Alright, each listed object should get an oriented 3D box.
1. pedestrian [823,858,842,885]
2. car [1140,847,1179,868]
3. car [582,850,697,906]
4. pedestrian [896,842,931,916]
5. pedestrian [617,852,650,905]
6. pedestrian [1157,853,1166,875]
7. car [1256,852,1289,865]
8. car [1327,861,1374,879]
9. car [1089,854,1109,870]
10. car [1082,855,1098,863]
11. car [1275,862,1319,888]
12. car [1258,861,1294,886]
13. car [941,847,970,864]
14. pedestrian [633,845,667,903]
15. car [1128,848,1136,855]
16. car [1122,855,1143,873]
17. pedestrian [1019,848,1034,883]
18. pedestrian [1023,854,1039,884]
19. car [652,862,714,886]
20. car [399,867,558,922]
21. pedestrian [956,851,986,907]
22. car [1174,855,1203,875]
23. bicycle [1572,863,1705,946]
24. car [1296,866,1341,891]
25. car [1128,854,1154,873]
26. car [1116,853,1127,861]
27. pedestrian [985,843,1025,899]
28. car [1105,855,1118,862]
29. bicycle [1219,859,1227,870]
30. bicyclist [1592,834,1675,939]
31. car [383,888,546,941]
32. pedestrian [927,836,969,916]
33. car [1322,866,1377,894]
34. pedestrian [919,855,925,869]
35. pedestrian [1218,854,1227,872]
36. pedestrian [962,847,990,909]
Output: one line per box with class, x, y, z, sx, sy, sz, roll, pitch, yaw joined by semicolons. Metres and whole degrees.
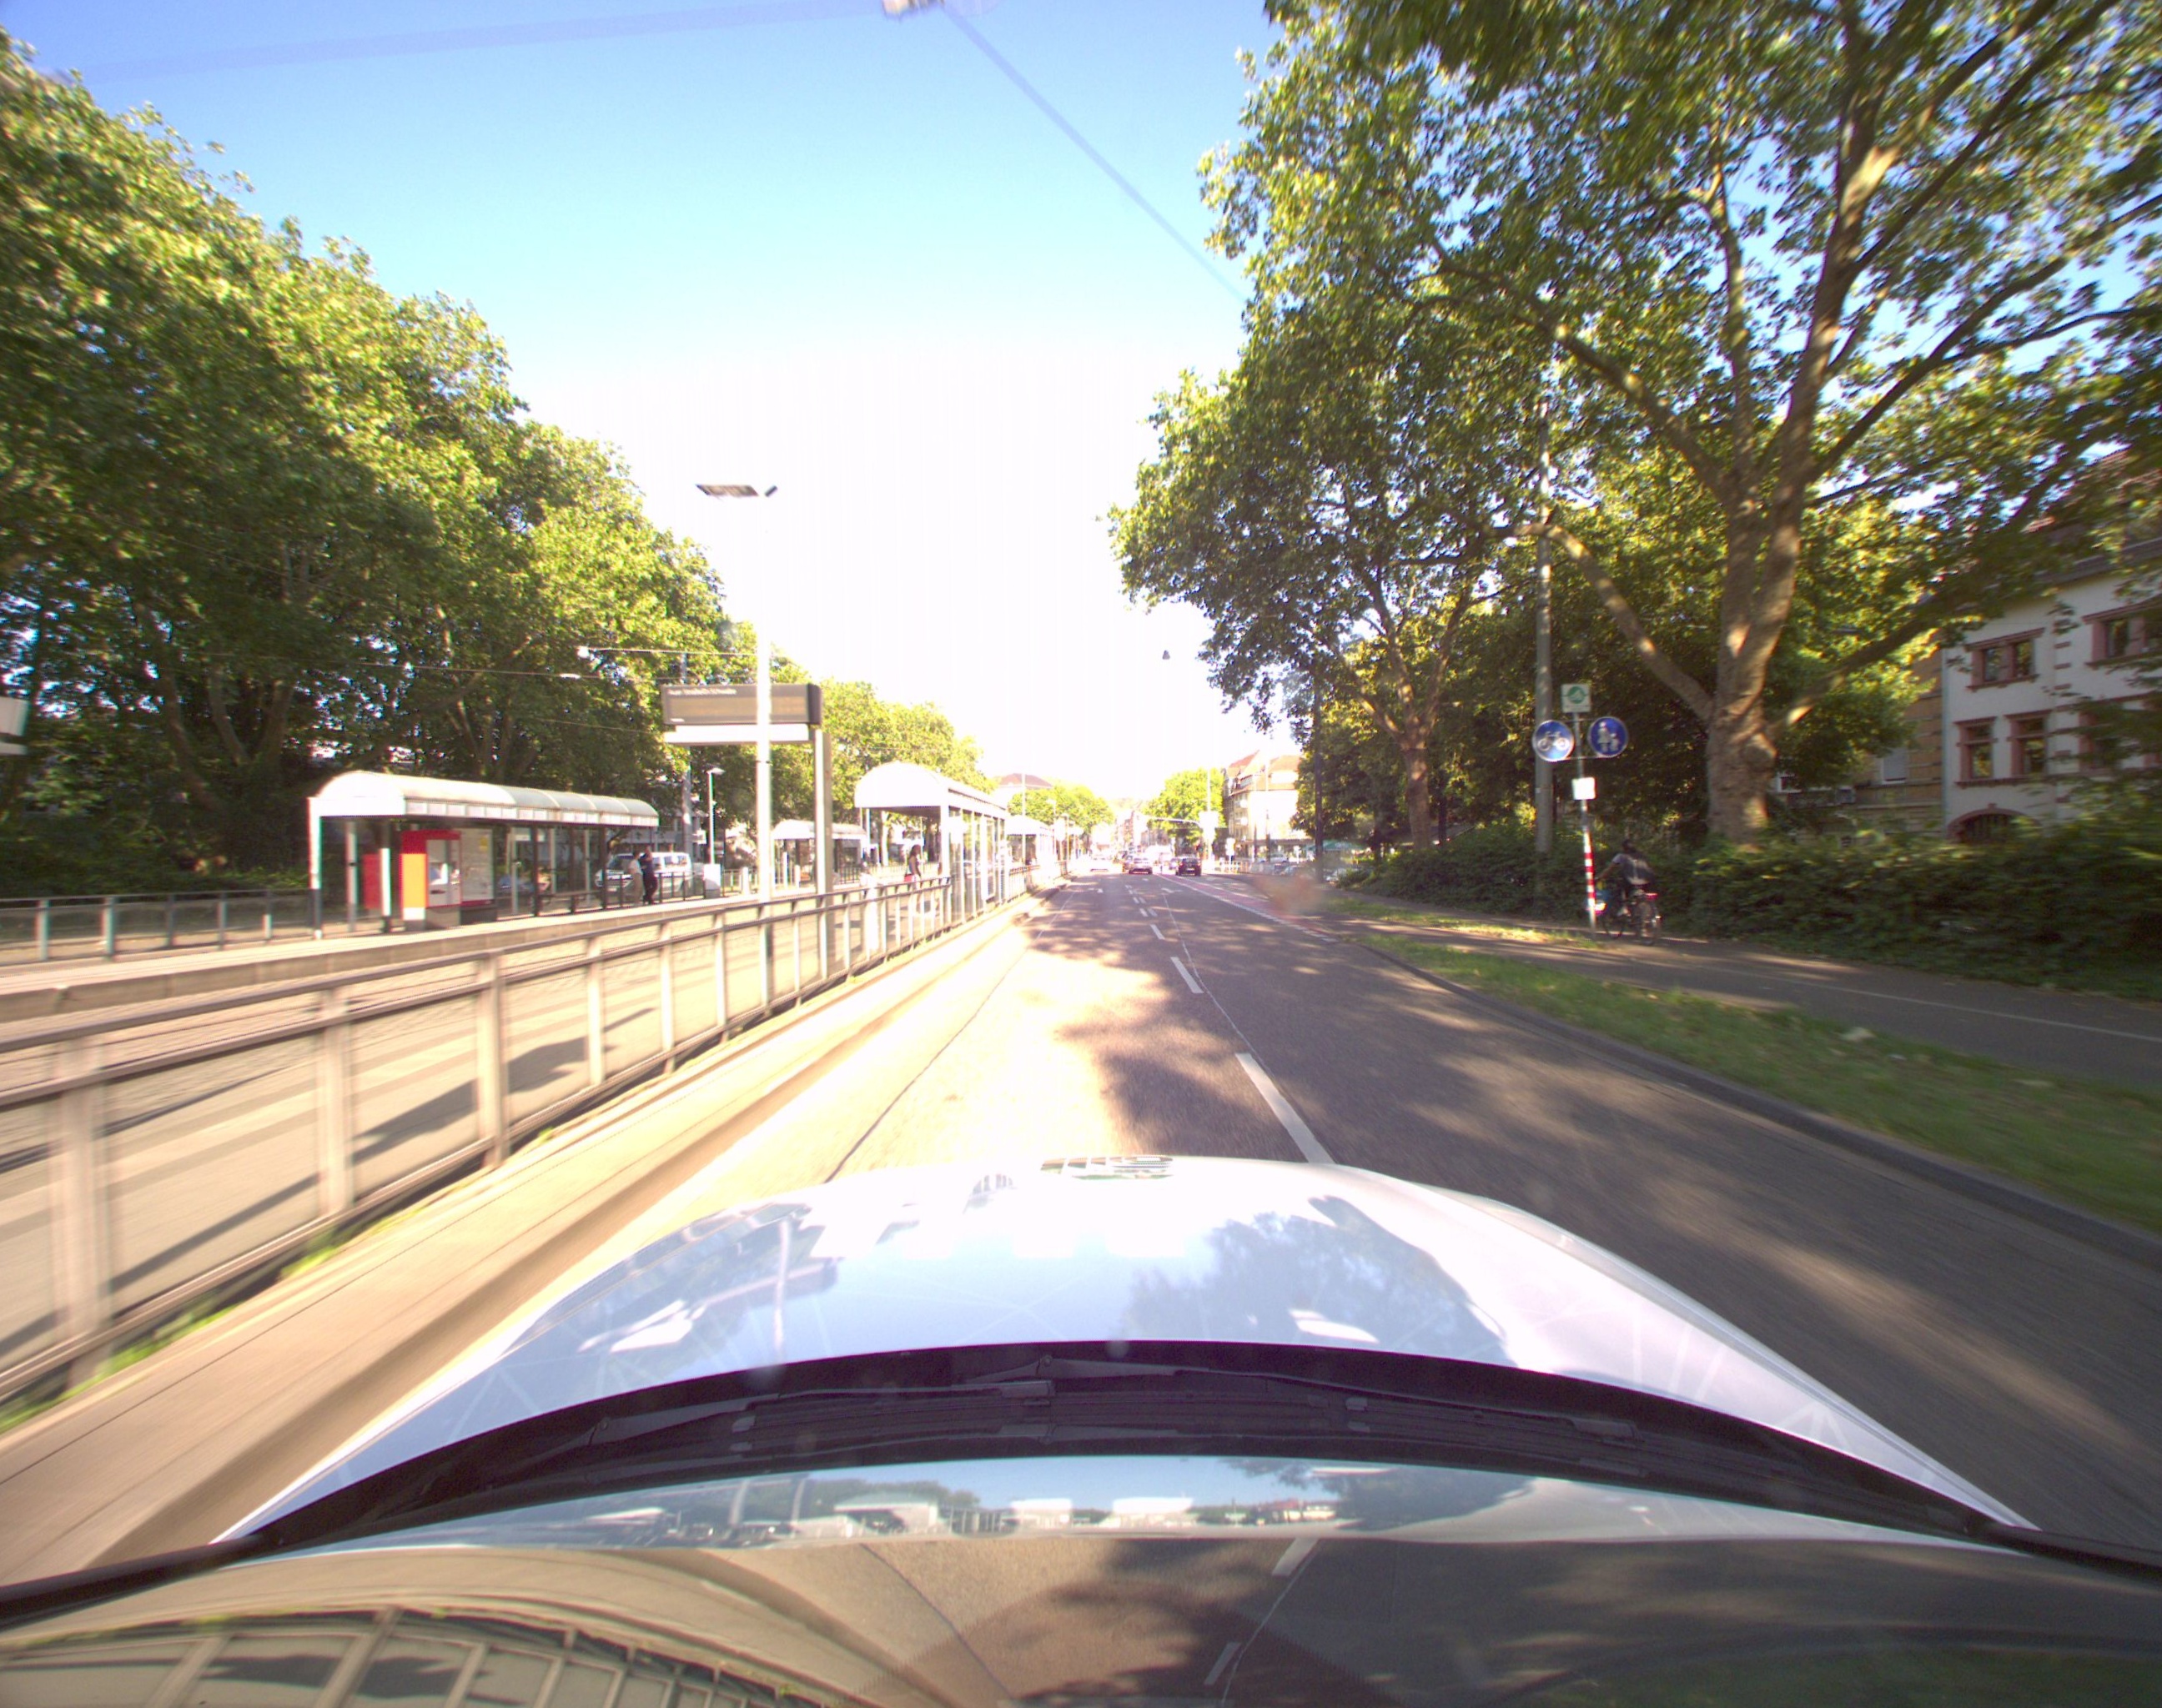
pedestrian;-12.412;0.857;40.718;0.667;1.324;0.757;-4;0;-1
car;10.528;0.437;109.154;5.007;2.743;2.070;0;-1;-5
car;-18.642;0.973;34.711;2.060;2.124;5.089;-3;-1;0
pedestrian;-3.638;0.539;17.700;0.585;1.567;0.650;1;-1;2
pedestrian;-13.246;0.709;24.131;0.590;1.544;0.627;0;-1;2
pedestrian;6.810;0.851;68.641;0.654;1.871;0.678;-1;0;1
car;25.295;0.612;107.744;4.113;1.692;1.830;0;0;18
car;23.055;1.312;69.616;4.018;1.348;1.759;-2;1;-36
car;1.715;0.722;77.084;1.802;1.452;4.000;0;0;1
car;1.762;0.978;164.064;1.707;1.510;3.899;-1;-1;26
car;15.866;1.533;59.969;1.791;1.803;4.203;0;-1;-5
car;15.703;1.563;65.829;1.789;1.898;4.357;0;-1;-1
car;-24.708;0.285;160.293;2.473;3.165;6.572;-1;0;24
pedestrian;-13.177;0.606;24.888;0.645;1.772;0.651;0;-1;4
car;12.443;-0.586;199.998;1.788;1.510;4.000;-1;0;0
car;4.725;0.918;75.298;1.794;1.638;4.046;0;0;1
pedestrian;-2.630;0.543;39.283;0.592;1.678;0.590;0;-1;6
pedestrian;-2.199;0.642;35.912;0.676;1.309;0.593;0;-1;2
car;-41.486;2.073;85.034;2.131;2.335;5.756;-1;0;25
car;-18.951;1.210;25.901;1.788;1.510;4.340;-3;-1;0
pedestrian;-3.441;0.785;25.510;0.656;1.722;0.703;1;-1;-34
car;8.286;0.825;62.776;1.793;1.439;4.046;1;0;1
bicycle;8.302;0.714;12.239;0.763;1.107;1.800;-2;0;1
car;15.588;1.560;53.723;1.788;1.579;4.443;0;-1;1
car;4.988;0.750;68.160;1.922;1.472;4.856;0;0;1
car;9.191;0.681;185.430;1.782;1.826;4.013;-1;0;12
pedestrian;-2.282;0.496;24.447;0.792;1.634;0.872;1;0;39
car;6.716;1.048;178.033;1.779;1.510;4.020;-1;-1;20
bicycle;13.603;1.011;78.267;0.497;1.075;1.800;0;-1;1
bicyclist;8.286;0.476;12.245;0.763;1.513;0.650;-2;0;1
car;-18.974;1.810;25.347;1.764;1.292;4.314;-3;-1;0
pedestrian;-2.865;0.470;17.616;0.739;1.694;0.791;1;-1;2
car;15.654;1.476;47.711;1.788;1.579;4.554;0;-1;1
pedestrian;-18.350;0.953;94.142;0.533;1.552;0.677;-1;0;1
pedestrian;12.514;0.827;72.179;0.642;1.563;0.635;2;0;20
pedestrian;-3.172;0.711;24.632;0.647;1.841;0.712;0;-1;11
